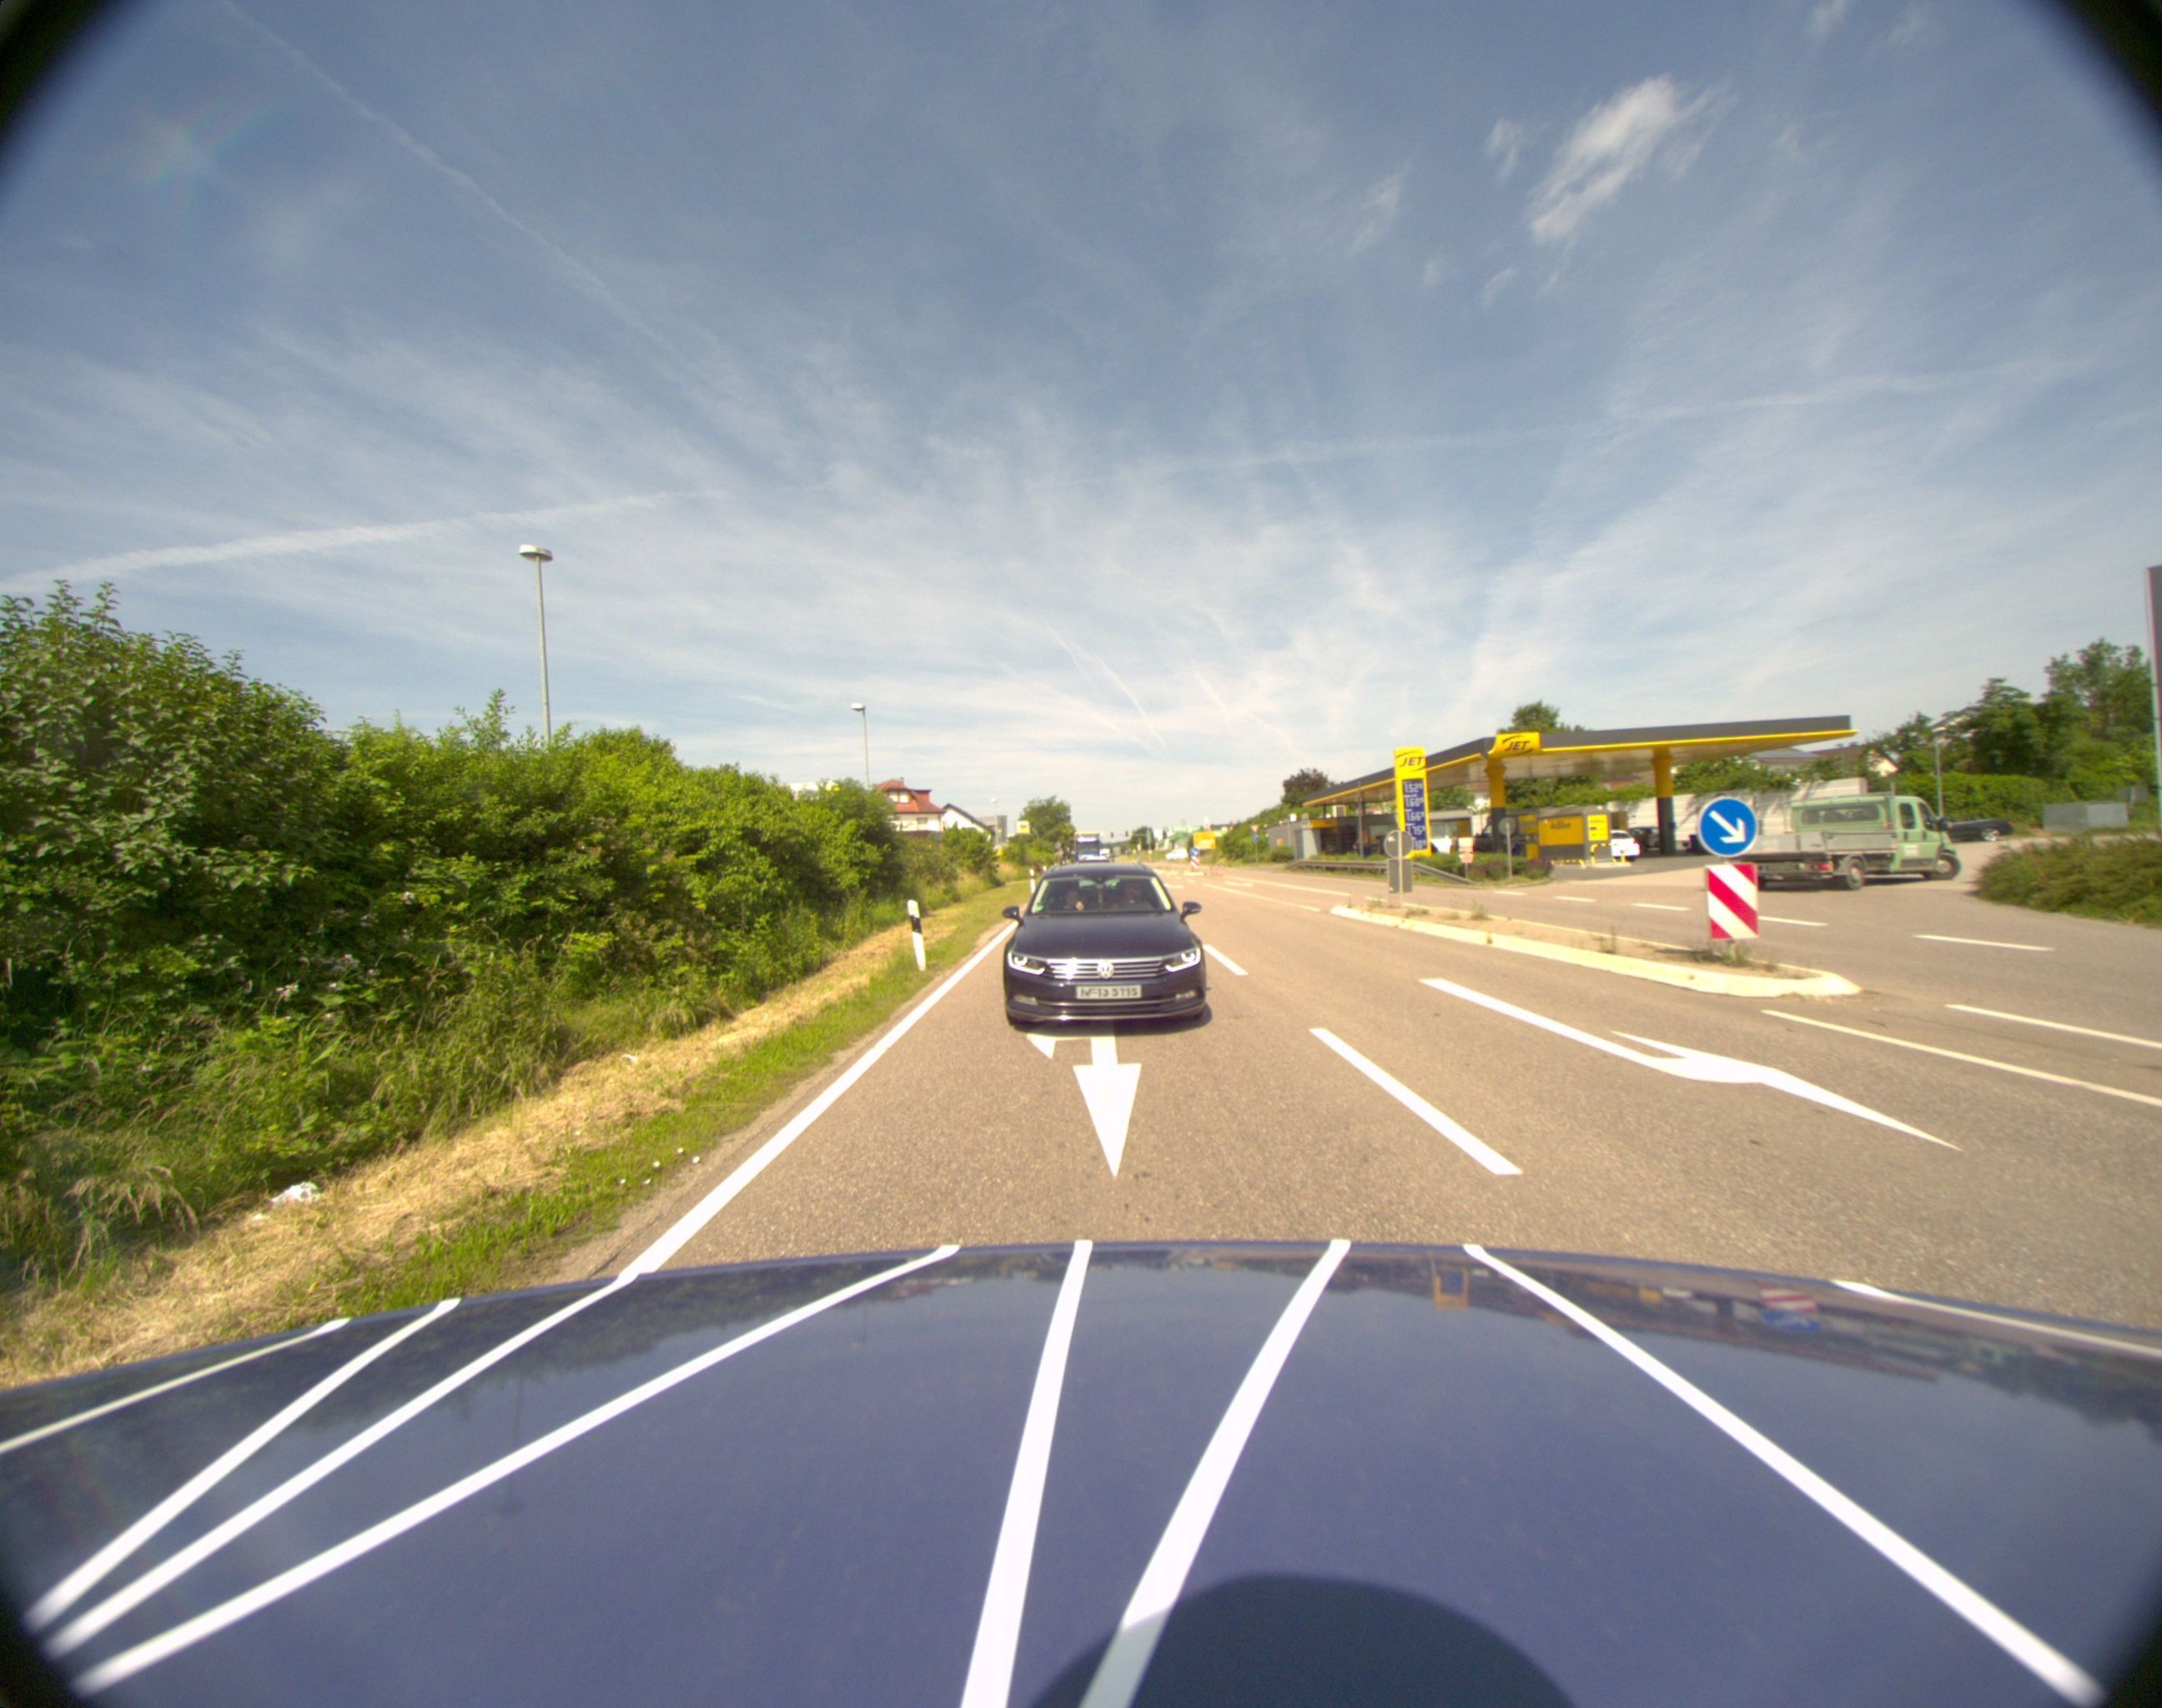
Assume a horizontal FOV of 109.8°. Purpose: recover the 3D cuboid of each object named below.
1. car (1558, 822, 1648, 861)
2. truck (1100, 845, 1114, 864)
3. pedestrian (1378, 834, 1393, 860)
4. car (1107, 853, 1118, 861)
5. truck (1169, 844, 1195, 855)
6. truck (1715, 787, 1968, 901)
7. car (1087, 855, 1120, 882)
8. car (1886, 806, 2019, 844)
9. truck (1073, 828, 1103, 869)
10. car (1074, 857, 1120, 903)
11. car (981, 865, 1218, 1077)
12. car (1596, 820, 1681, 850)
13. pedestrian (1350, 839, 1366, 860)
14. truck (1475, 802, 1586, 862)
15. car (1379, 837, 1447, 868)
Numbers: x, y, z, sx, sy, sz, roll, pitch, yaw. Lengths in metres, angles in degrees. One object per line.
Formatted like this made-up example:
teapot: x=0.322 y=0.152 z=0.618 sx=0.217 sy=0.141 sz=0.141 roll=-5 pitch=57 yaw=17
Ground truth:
car: x=24.586 y=-0.562 z=35.953 sx=1.736 sy=1.717 sz=4.001 roll=-1 pitch=0 yaw=4
truck: x=5.897 y=0.035 z=175.226 sx=2.855 sy=3.999 sz=12.916 roll=-2 pitch=0 yaw=1
pedestrian: x=21.841 y=-0.490 z=54.536 sx=0.798 sy=1.827 sz=0.640 roll=-3 pitch=0 yaw=2
car: x=5.541 y=0.547 z=134.329 sx=1.786 sy=1.210 sz=4.000 roll=-3 pitch=0 yaw=3
truck: x=20.851 y=-0.891 z=156.708 sx=4.774 sy=1.997 sz=1.999 roll=-3 pitch=0 yaw=-8
truck: x=19.028 y=-0.318 z=18.970 sx=6.356 sy=2.361 sz=2.245 roll=-4 pitch=1 yaw=-23
car: x=1.322 y=0.823 z=44.721 sx=1.814 sy=1.466 sz=3.974 roll=-2 pitch=0 yaw=2
car: x=42.615 y=-1.398 z=37.282 sx=3.866 sy=1.603 sz=1.756 roll=-2 pitch=0 yaw=29
truck: x=0.831 y=-0.571 z=82.423 sx=2.855 sy=3.999 sz=12.916 roll=-2 pitch=0 yaw=1
car: x=0.568 y=0.881 z=27.067 sx=1.471 sy=1.451 sz=3.797 roll=-2 pitch=0 yaw=1
car: x=0.202 y=0.934 z=8.285 sx=1.756 sy=1.493 sz=4.925 roll=-2 pitch=0 yaw=1
car: x=32.621 y=-1.090 z=44.572 sx=1.753 sy=1.603 sz=3.873 roll=-2 pitch=0 yaw=-9
pedestrian: x=18.843 y=-0.313 z=51.772 sx=0.914 sy=1.419 sz=0.494 roll=-2 pitch=1 yaw=12
truck: x=24.246 y=-1.161 z=41.350 sx=2.250 sy=2.906 sz=6.282 roll=-2 pitch=1 yaw=0
car: x=19.470 y=-0.089 z=44.783 sx=1.999 sy=1.696 sz=4.264 roll=-2 pitch=0 yaw=-2
